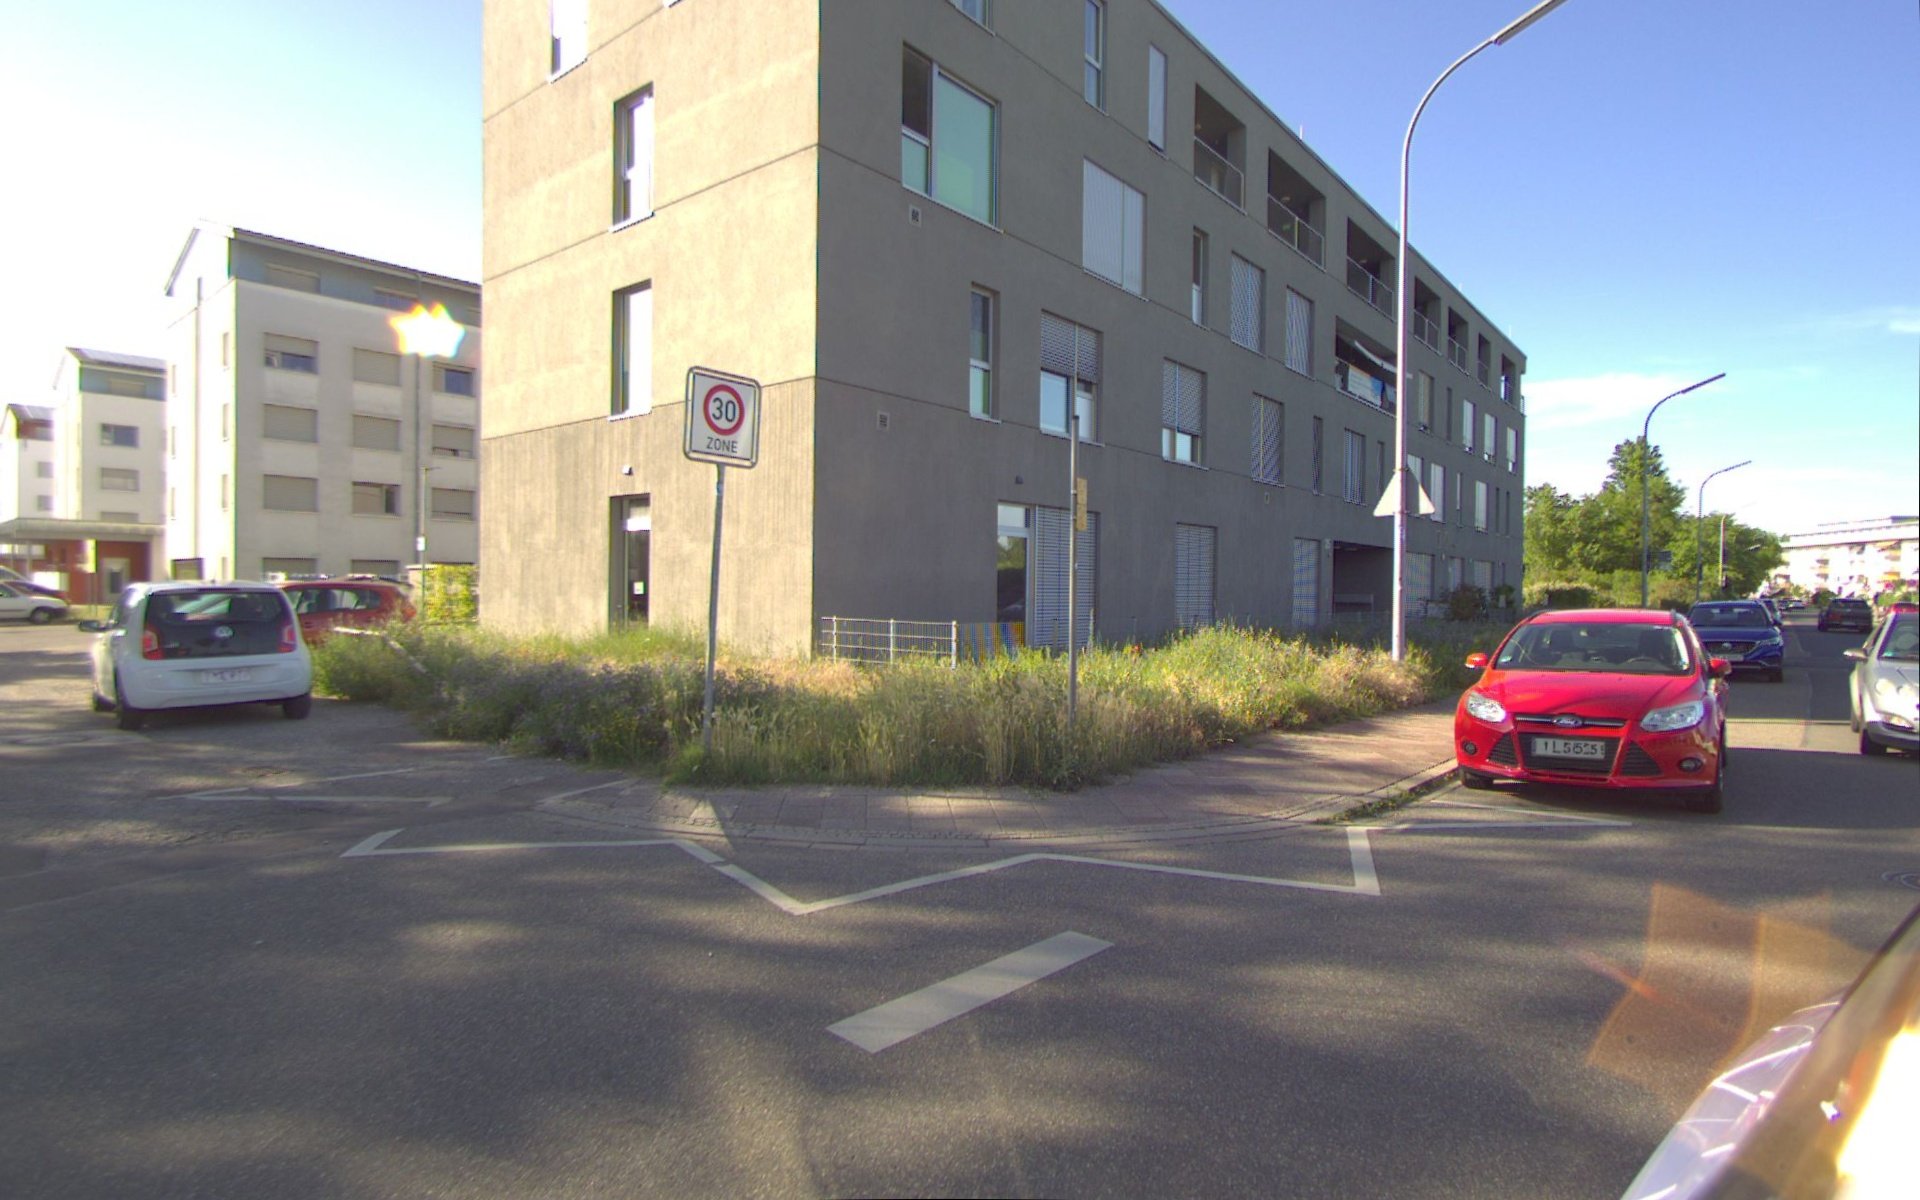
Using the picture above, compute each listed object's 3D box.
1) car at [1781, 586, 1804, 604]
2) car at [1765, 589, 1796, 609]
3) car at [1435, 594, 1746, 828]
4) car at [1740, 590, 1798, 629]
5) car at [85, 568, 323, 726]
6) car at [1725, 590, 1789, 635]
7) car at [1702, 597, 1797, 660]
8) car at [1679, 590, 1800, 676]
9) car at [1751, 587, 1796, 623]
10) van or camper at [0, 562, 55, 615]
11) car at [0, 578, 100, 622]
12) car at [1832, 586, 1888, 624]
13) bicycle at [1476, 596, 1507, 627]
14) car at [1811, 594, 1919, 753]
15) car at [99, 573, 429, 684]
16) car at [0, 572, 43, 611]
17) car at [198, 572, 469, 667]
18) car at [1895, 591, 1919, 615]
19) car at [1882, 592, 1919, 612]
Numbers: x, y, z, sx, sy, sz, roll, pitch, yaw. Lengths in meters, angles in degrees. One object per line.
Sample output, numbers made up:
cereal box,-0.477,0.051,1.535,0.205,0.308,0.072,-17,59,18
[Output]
car,96.598,-0.596,117.479,1.991,2.039,3.943,1,1,40
car,67.183,-0.116,82.868,1.866,1.545,4.094,1,1,40
car,5.733,0.716,8.921,1.816,1.518,4.389,0,0,39
car,35.403,0.389,44.226,1.743,1.586,4.731,-1,0,41
car,-8.447,0.396,11.215,1.687,1.476,3.329,0,1,-44
car,29.558,0.426,37.509,1.705,1.545,4.094,0,0,40
car,20.380,0.668,26.060,1.742,1.447,4.519,-1,0,40
car,16.510,0.629,21.416,1.813,1.620,4.562,-2,-1,39
car,41.866,0.240,52.155,1.703,1.727,4.289,-2,-1,38
van or camper,-37.437,-0.440,37.849,1.993,1.982,5.215,1,1,42
car,-30.820,-0.010,32.558,1.991,1.366,4.535,1,1,40
car,44.354,0.230,49.927,1.941,1.749,4.766,1,1,41
bicycle,19.395,0.403,36.926,0.552,1.074,1.813,0,0,44
car,10.559,0.677,10.793,1.667,1.467,3.955,0,1,31
car,-10.688,0.363,15.754,1.691,1.488,3.942,2,2,40
car,-34.929,-0.320,35.416,1.755,1.366,4.028,1,1,40
car,-11.412,0.299,18.640,1.691,1.539,3.942,2,2,40
car,60.683,0.172,64.231,1.693,1.447,4.323,1,1,39
car,66.679,0.127,71.742,1.693,1.386,3.855,1,1,39
